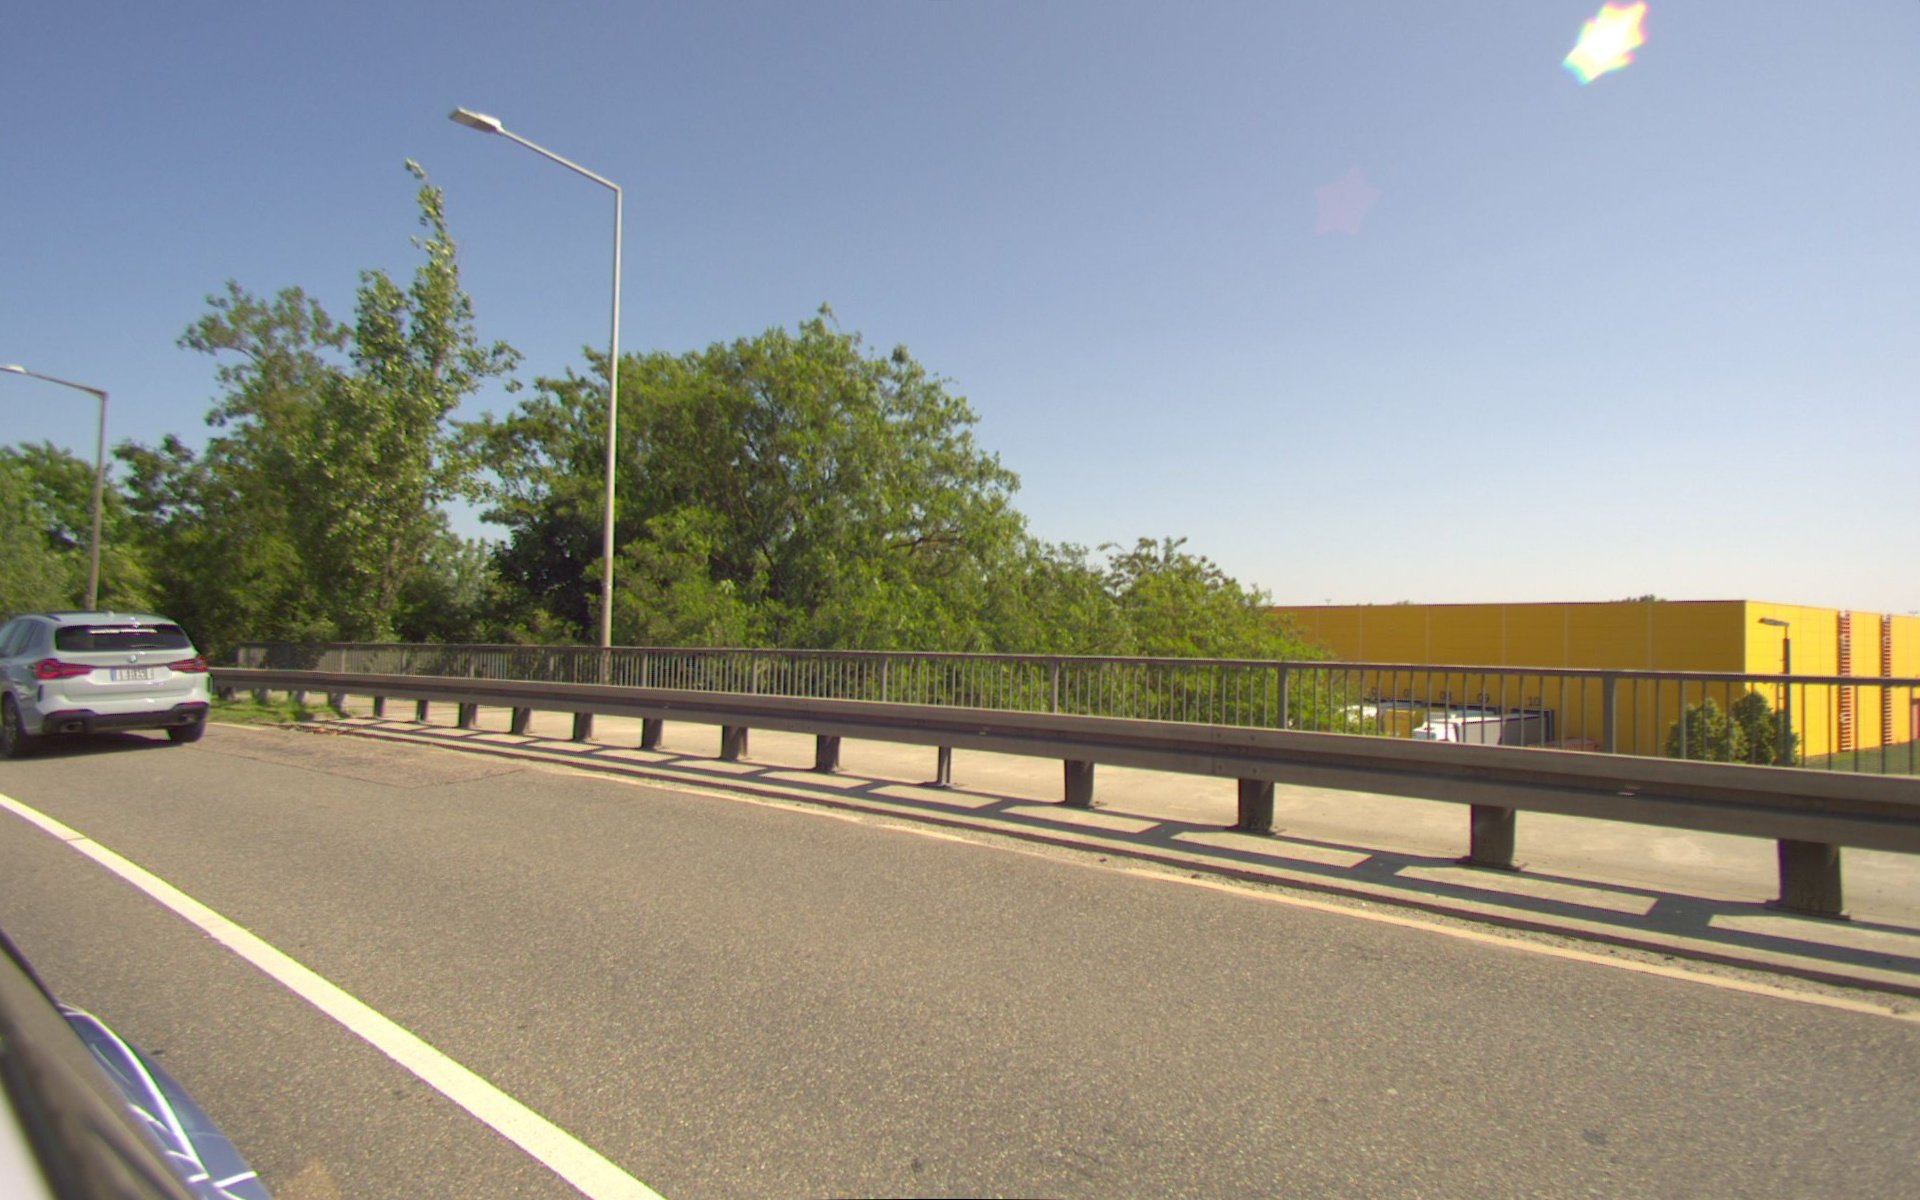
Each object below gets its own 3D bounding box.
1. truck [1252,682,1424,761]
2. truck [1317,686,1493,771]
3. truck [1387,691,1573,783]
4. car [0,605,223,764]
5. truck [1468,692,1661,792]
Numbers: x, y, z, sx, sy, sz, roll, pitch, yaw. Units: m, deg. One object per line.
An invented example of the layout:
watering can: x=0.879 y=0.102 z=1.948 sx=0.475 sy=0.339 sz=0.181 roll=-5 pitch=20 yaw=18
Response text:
truck: x=34.882 y=10.863 z=92.826 sx=17.255 sy=5.719 sz=5.992 roll=1 pitch=-1 yaw=-35
truck: x=38.589 y=10.797 z=87.263 sx=17.255 sy=5.719 sz=5.804 roll=1 pitch=-1 yaw=-35
truck: x=42.407 y=10.767 z=82.073 sx=17.255 sy=5.719 sz=5.992 roll=1 pitch=-1 yaw=-35
car: x=-11.423 y=0.937 z=12.972 sx=4.462 sy=1.695 sz=1.842 roll=-1 pitch=0 yaw=35
truck: x=45.974 y=10.396 z=76.572 sx=17.255 sy=5.719 sz=5.992 roll=1 pitch=-1 yaw=-35
